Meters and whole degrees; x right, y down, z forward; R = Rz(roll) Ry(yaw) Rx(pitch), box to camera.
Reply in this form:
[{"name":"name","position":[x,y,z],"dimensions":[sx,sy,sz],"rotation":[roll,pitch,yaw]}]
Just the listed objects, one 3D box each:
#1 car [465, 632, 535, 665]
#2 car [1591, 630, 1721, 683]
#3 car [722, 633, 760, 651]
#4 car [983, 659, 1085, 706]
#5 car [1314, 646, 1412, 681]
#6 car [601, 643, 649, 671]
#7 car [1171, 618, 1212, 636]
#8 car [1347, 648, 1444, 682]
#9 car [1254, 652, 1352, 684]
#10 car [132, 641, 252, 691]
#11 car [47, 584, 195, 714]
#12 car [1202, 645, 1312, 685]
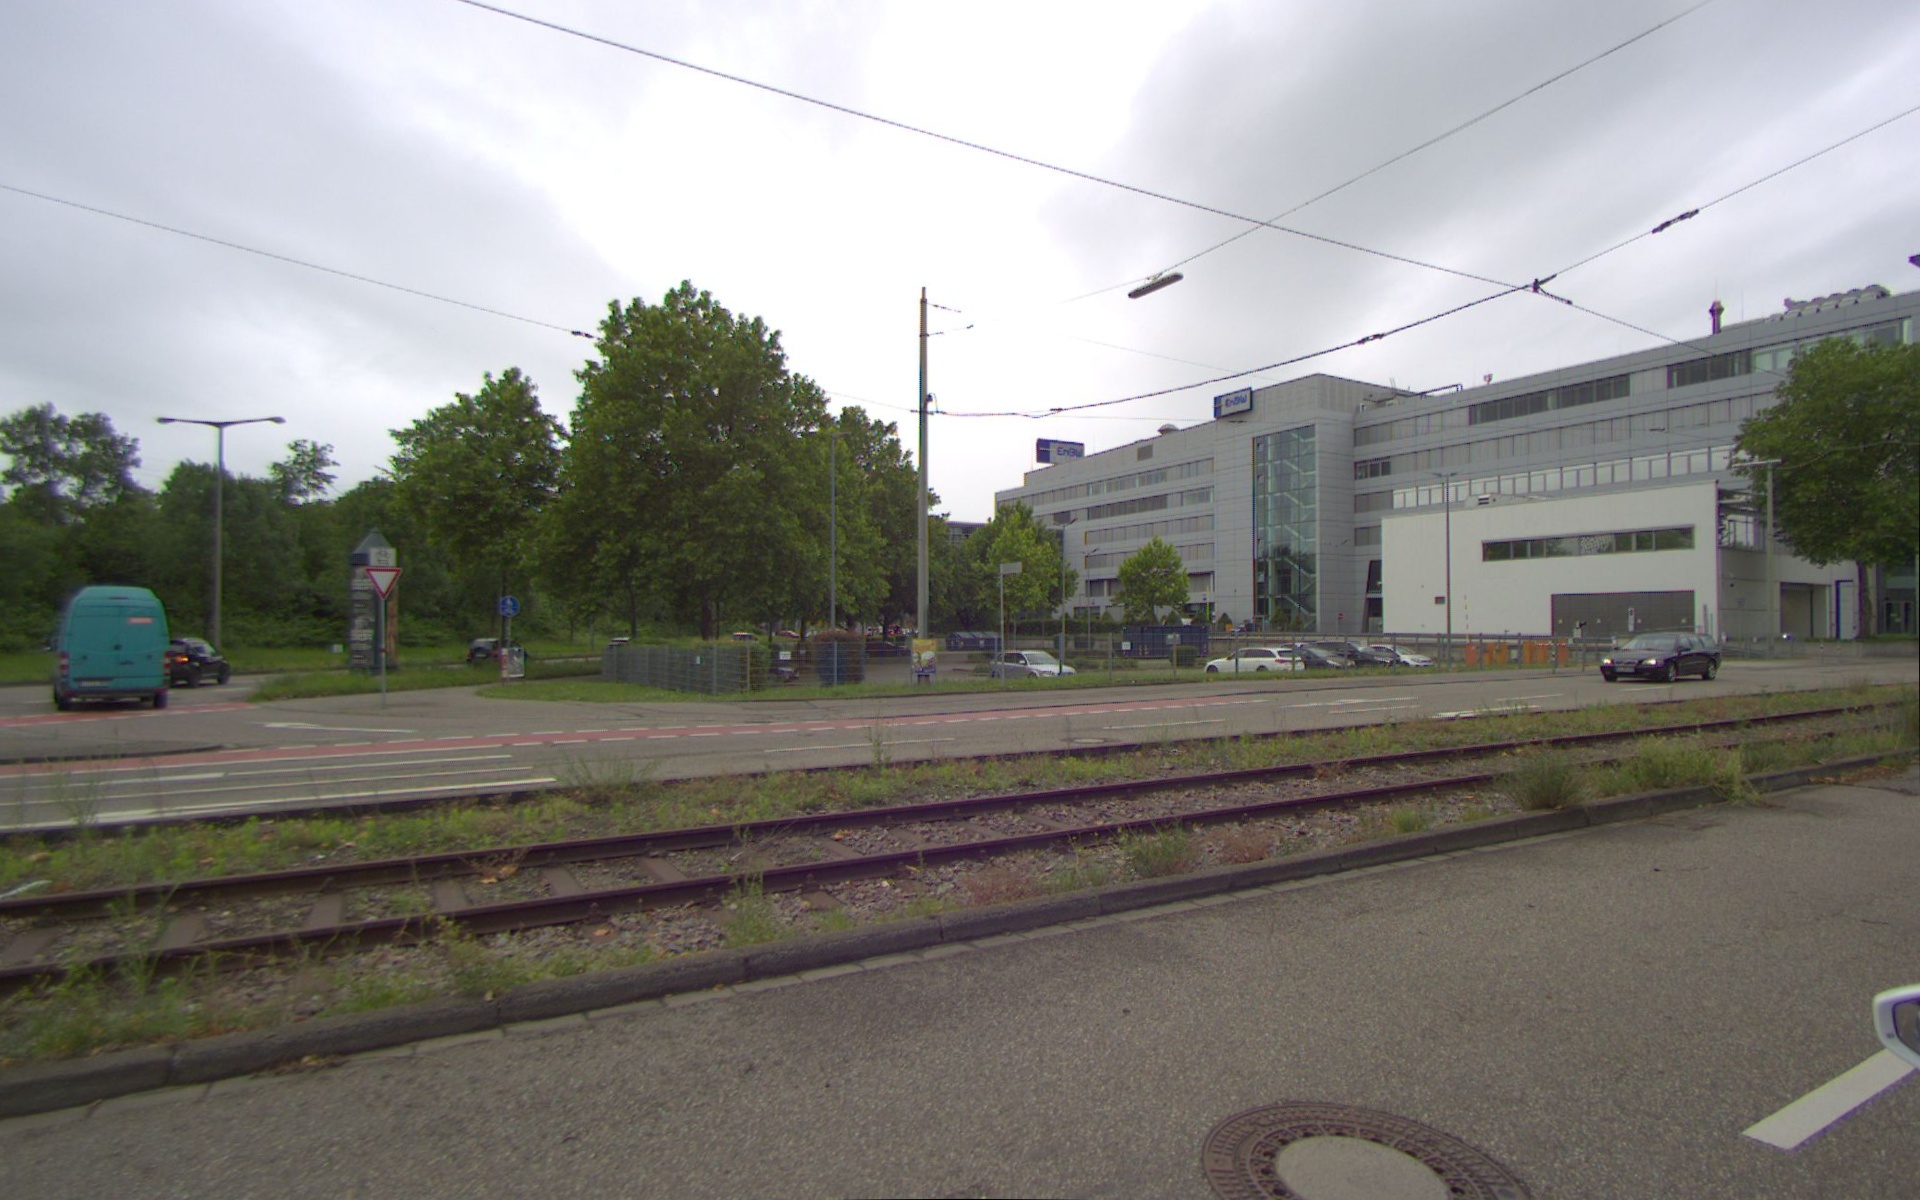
[{"name":"car","position":[-23.638,2.450,51.720],"dimensions":[1.739,1.548,3.670],"rotation":[0,0,3]},{"name":"car","position":[21.183,1.676,30.535],"dimensions":[4.381,1.492,1.808],"rotation":[1,-2,-35]},{"name":"car","position":[-20.871,3.965,95.960],"dimensions":[1.928,1.548,5.013],"rotation":[0,0,7]},{"name":"car","position":[2.743,3.073,38.075],"dimensions":[1.889,1.552,4.194],"rotation":[1,-2,-29]},{"name":"car","position":[19.008,2.967,47.561],"dimensions":[1.892,1.505,3.964],"rotation":[1,-2,-33]},{"name":"car","position":[-22.281,3.756,66.997],"dimensions":[1.743,1.674,3.671],"rotation":[0,0,4]},{"name":"car","position":[27.203,3.170,118.130],"dimensions":[4.596,2.040,1.984],"rotation":[1,-2,-31]},{"name":"car","position":[21.243,3.134,49.105],"dimensions":[1.892,1.505,3.964],"rotation":[1,-2,-33]},{"name":"car","position":[15.637,3.065,45.940],"dimensions":[1.892,1.332,3.964],"rotation":[1,-2,-33]},{"name":"car","position":[-25.496,2.148,33.504],"dimensions":[1.743,1.548,3.662],"rotation":[0,-2,-12]},{"name":"car","position":[-20.930,1.177,24.949],"dimensions":[2.321,2.863,5.870],"rotation":[2,-2,-45]},{"name":"car","position":[12.934,2.801,44.060],"dimensions":[1.892,1.655,4.501],"rotation":[1,-2,-33]}]
